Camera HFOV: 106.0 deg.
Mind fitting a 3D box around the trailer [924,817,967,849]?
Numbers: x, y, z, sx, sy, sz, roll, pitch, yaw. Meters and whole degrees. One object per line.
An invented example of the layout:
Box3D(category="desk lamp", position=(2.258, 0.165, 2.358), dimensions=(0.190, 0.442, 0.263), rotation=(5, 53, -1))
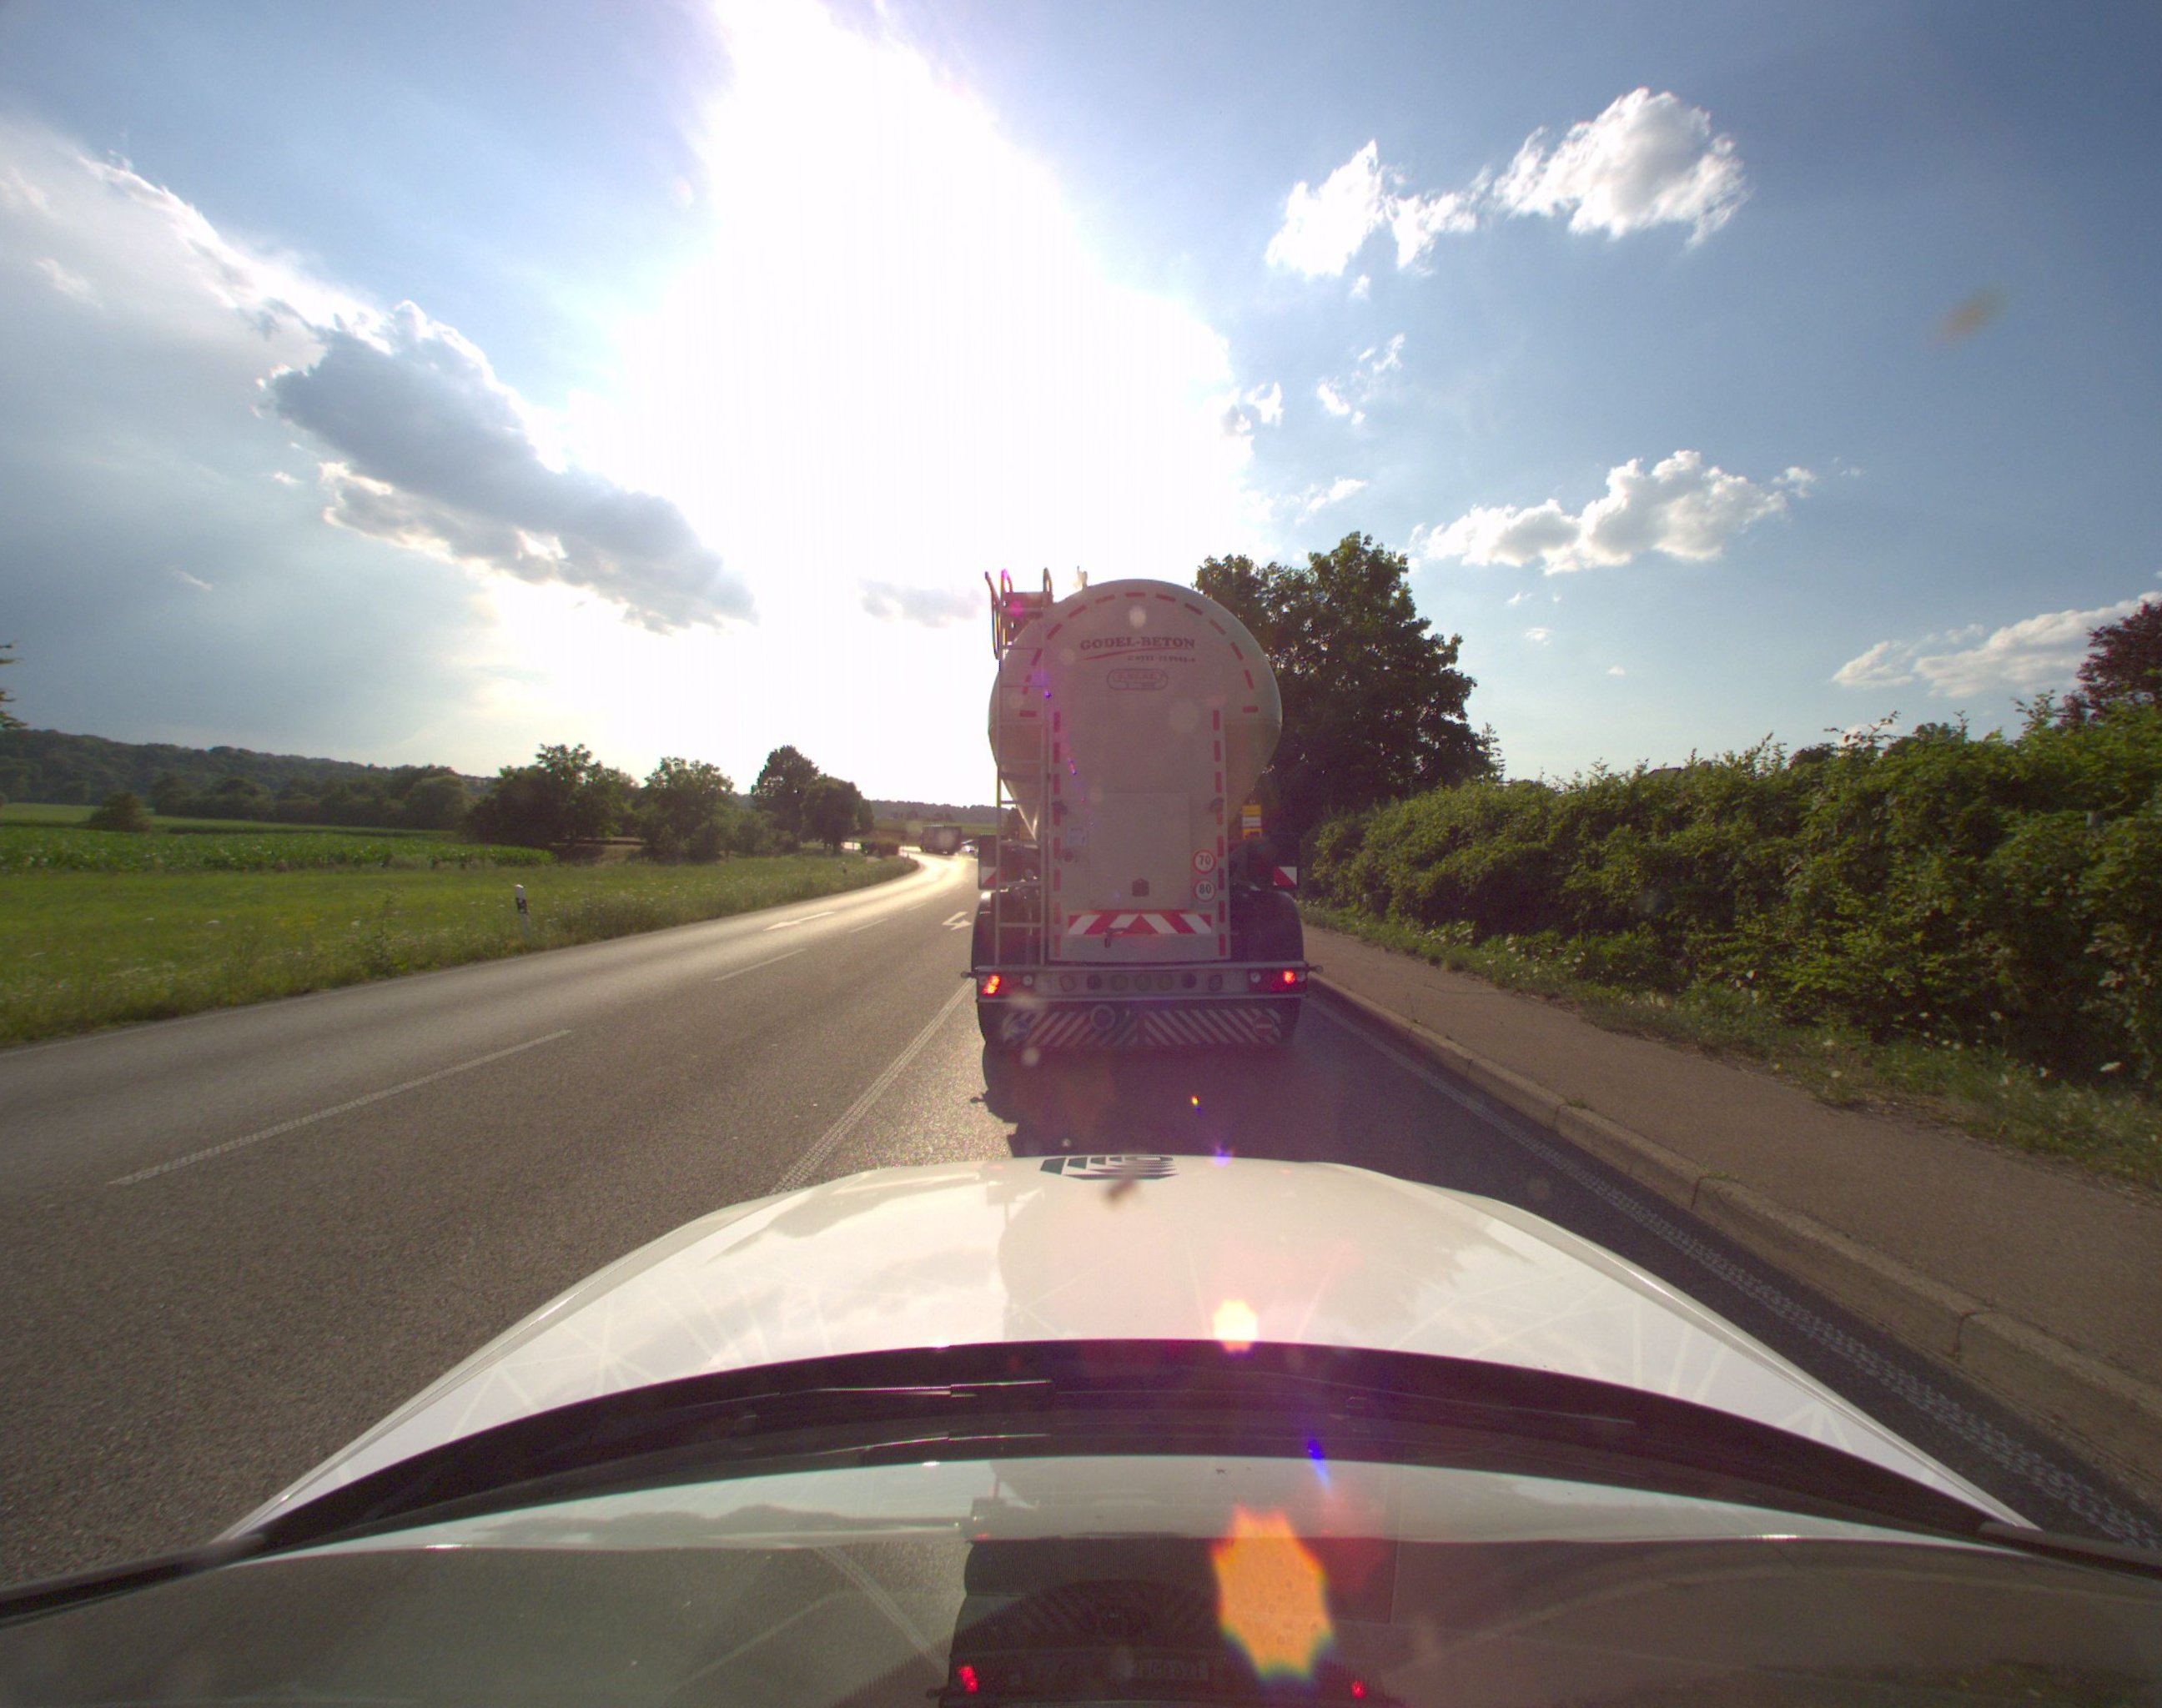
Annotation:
Box3D(category="trailer", position=(-20.191, -2.953, 120.323), dimensions=(3.388, 4.350, 14.192), rotation=(1, 0, -21))

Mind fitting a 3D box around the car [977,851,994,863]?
Box3D(category="car", position=(-11.310, 0.388, 96.291), dimensions=(1.583, 1.341, 3.407), rotation=(1, 0, -16))

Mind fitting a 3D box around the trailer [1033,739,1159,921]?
Box3D(category="trailer", position=(0.609, -0.599, 26.514), dimensions=(2.943, 4.315, 14.182), rotation=(1, 0, 2))

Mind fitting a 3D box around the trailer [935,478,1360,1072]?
Box3D(category="trailer", position=(0.250, -0.546, 10.539), dimensions=(2.903, 4.006, 9.919), rotation=(0, 0, -3))

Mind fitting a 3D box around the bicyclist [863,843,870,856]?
Box3D(category="bicyclist", position=(-24.592, -0.541, 93.313), dimensions=(0.634, 1.419, 0.689), rotation=(2, 0, -7))

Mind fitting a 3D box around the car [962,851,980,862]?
Box3D(category="car", position=(-13.877, 0.247, 102.682), dimensions=(1.773, 1.205, 3.407), rotation=(-6, 2, -16))

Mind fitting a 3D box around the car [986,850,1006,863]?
Box3D(category="car", position=(-9.248, 0.265, 88.112), dimensions=(1.583, 1.341, 3.407), rotation=(1, 0, -16))

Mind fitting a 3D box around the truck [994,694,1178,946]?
Box3D(category="truck", position=(0.034, -0.551, 15.024), dimensions=(2.902, 4.006, 4.057), rotation=(0, 0, -2))

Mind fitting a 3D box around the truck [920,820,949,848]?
Box3D(category="truck", position=(-23.073, -3.075, 127.763), dimensions=(3.388, 4.350, 5.665), rotation=(1, 0, -21))

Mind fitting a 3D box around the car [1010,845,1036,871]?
Box3D(category="car", position=(-4.833, 0.319, 67.453), dimensions=(1.861, 2.013, 3.708), rotation=(0, 0, -9))

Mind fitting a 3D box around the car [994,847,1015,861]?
Box3D(category="car", position=(-7.695, -0.029, 81.881), dimensions=(1.583, 1.341, 3.407), rotation=(1, 0, -16))

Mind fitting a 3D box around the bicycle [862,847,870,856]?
Box3D(category="bicycle", position=(-24.589, -0.290, 93.225), dimensions=(0.634, 1.074, 1.667), rotation=(2, 0, -6))
